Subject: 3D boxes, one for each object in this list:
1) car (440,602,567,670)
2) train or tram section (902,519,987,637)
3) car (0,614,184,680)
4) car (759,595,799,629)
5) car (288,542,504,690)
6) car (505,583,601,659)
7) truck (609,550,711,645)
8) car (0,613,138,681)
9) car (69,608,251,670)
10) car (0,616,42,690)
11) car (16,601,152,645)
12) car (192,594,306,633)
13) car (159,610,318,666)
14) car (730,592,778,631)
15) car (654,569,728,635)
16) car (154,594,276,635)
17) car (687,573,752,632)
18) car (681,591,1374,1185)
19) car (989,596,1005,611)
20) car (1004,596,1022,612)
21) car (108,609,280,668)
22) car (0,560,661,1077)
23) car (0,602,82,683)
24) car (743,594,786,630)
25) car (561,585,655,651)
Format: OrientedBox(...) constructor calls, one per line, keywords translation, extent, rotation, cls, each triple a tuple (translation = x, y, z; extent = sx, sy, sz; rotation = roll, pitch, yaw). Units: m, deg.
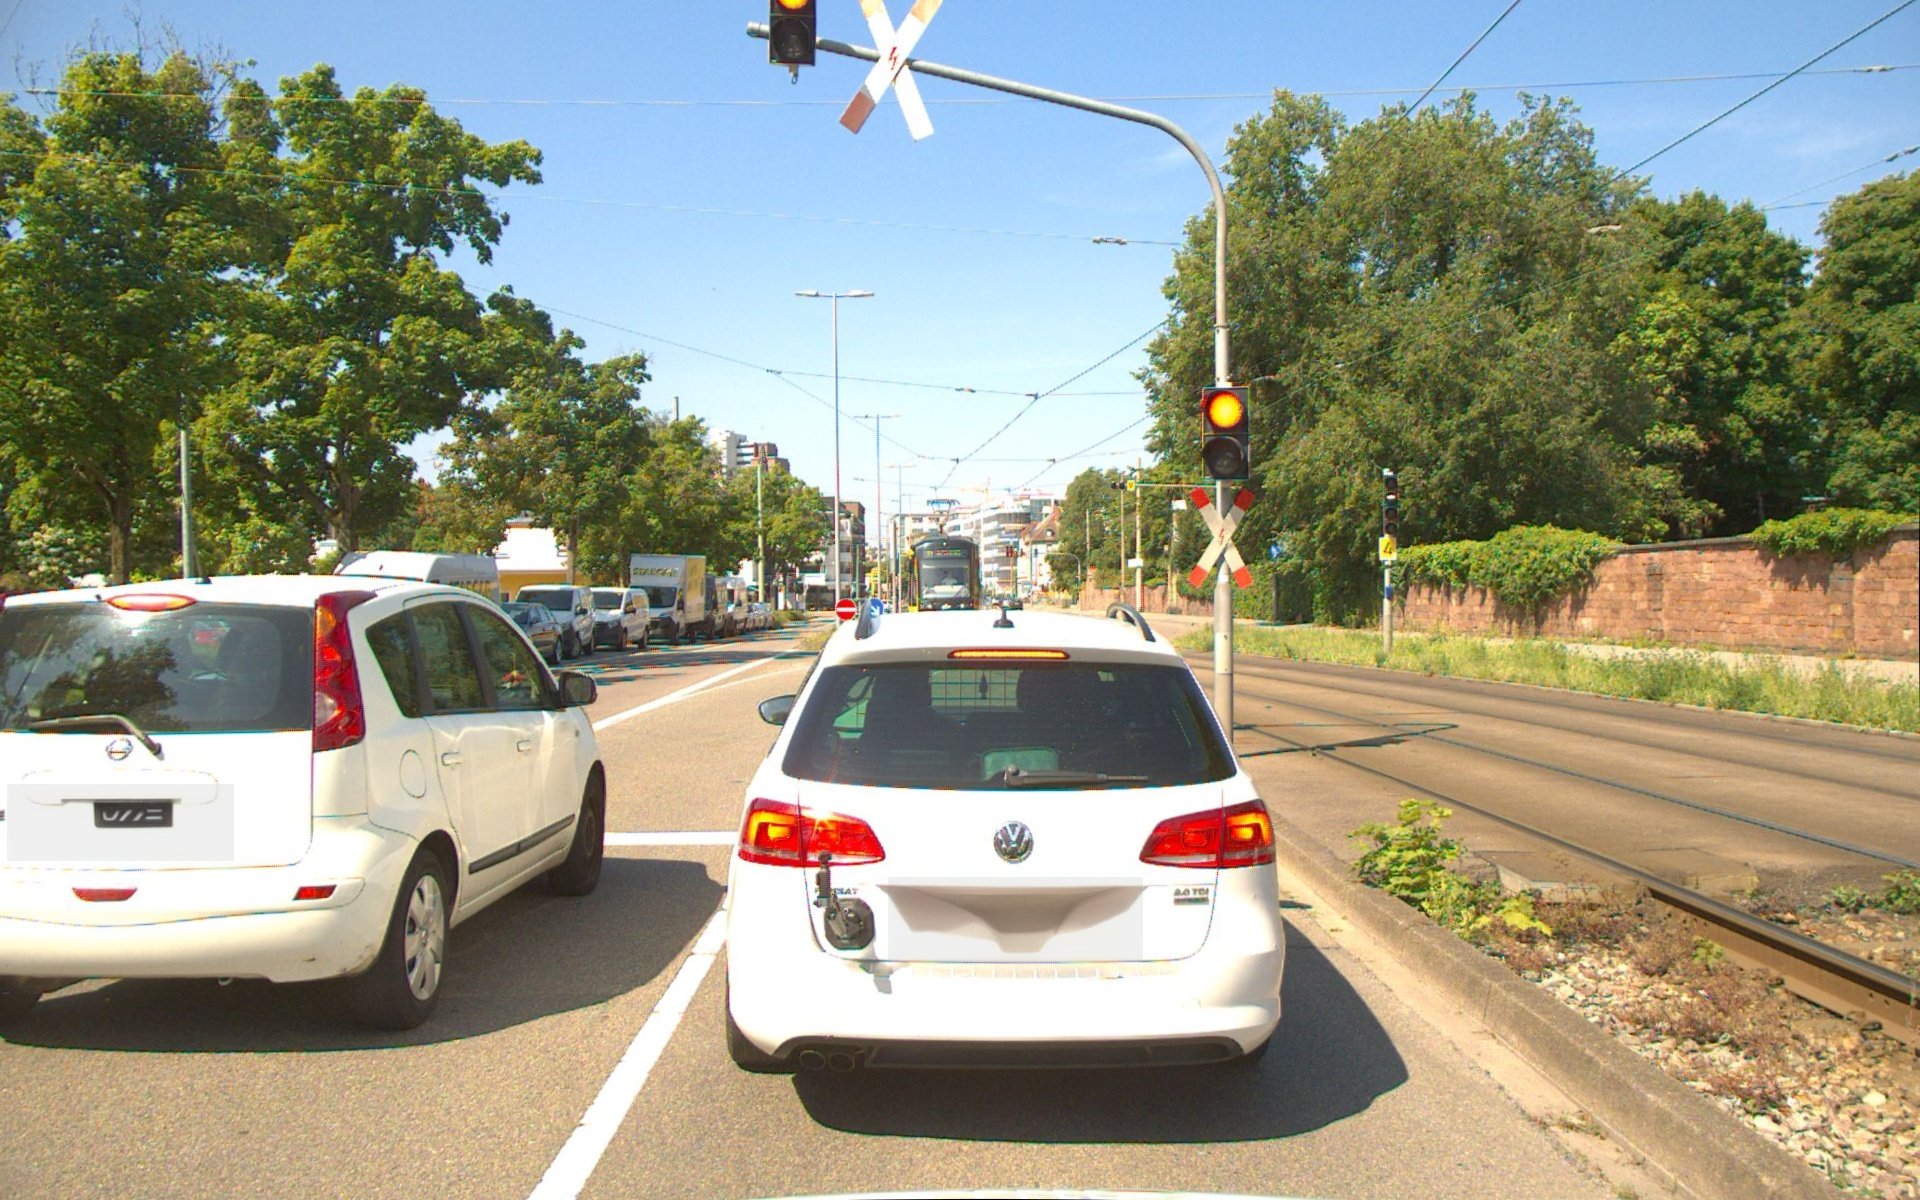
OrientedBox(translation=(-10.566, 0.799, 38.597), extent=(1.826, 1.440, 4.278), rotation=(1, 0, -1), cls="car")
OrientedBox(translation=(-0.623, -0.785, 62.151), extent=(2.812, 3.923, 12.389), rotation=(-1, 0, -1), cls="train or tram section")
OrientedBox(translation=(-21.744, 1.165, 41.234), extent=(3.909, 1.440, 1.728), rotation=(-2, 0, -5), cls="car")
OrientedBox(translation=(-10.723, 0.708, 98.418), extent=(1.826, 1.900, 5.412), rotation=(1, 0, -1), cls="car")
OrientedBox(translation=(-10.757, 0.273, 32.121), extent=(2.079, 2.560, 5.817), rotation=(1, 0, 1), cls="car")
OrientedBox(translation=(-11.030, 0.528, 45.128), extent=(1.828, 1.900, 5.068), rotation=(1, 0, -6), cls="car")
OrientedBox(translation=(-10.804, -0.111, 60.143), extent=(2.371, 3.205, 6.996), rotation=(1, 0, 0), cls="truck")
OrientedBox(translation=(-21.628, 1.113, 38.626), extent=(3.909, 1.440, 1.728), rotation=(-2, 0, -5), cls="car")
OrientedBox(translation=(-21.122, 1.022, 43.775), extent=(3.909, 1.440, 1.728), rotation=(-2, 0, -5), cls="car")
OrientedBox(translation=(-20.744, 1.120, 32.916), extent=(3.909, 1.440, 1.728), rotation=(-2, 0, -5), cls="car")
OrientedBox(translation=(-37.775, 0.982, 71.416), extent=(4.698, 1.819, 2.062), rotation=(1, 0, -5), cls="car")
OrientedBox(translation=(-34.912, 0.676, 81.290), extent=(4.698, 1.819, 2.062), rotation=(1, 0, -5), cls="car")
OrientedBox(translation=(-21.289, 1.100, 48.921), extent=(3.909, 1.440, 1.728), rotation=(-2, 0, -5), cls="car")
OrientedBox(translation=(-10.505, 0.557, 84.690), extent=(1.826, 1.900, 5.412), rotation=(1, 0, -1), cls="car")
OrientedBox(translation=(-11.023, 0.061, 68.139), extent=(2.079, 2.560, 5.733), rotation=(1, 0, 0), cls="car")
OrientedBox(translation=(-34.388, 0.665, 76.464), extent=(4.698, 1.819, 2.062), rotation=(1, 0, -5), cls="car")
OrientedBox(translation=(-10.937, 0.097, 75.577), extent=(2.079, 2.560, 5.733), rotation=(1, 0, 0), cls="car")
OrientedBox(translation=(0.147, 0.715, 6.187), extent=(1.726, 1.455, 3.999), rotation=(-1, 0, -1), cls="car")
OrientedBox(translation=(4.811, 0.457, 214.523), extent=(1.826, 1.900, 5.060), rotation=(1, 0, -2), cls="car")
OrientedBox(translation=(6.430, 0.493, 199.978), extent=(1.826, 1.900, 5.060), rotation=(1, 0, -2), cls="car")
OrientedBox(translation=(-21.300, 1.055, 46.103), extent=(3.909, 1.440, 1.728), rotation=(-2, 0, -5), cls="car")
OrientedBox(translation=(-2.553, 0.653, 7.313), extent=(1.628, 1.575, 4.546), rotation=(0, 0, 0), cls="car")
OrientedBox(translation=(-21.088, 0.960, 35.110), extent=(3.909, 1.638, 1.728), rotation=(-2, 0, -5), cls="car")
OrientedBox(translation=(-10.775, 0.645, 91.501), extent=(1.826, 1.900, 5.412), rotation=(1, 0, -1), cls="car")
OrientedBox(translation=(-10.932, 0.527, 51.718), extent=(1.826, 1.900, 5.412), rotation=(1, 0, -1), cls="car")
